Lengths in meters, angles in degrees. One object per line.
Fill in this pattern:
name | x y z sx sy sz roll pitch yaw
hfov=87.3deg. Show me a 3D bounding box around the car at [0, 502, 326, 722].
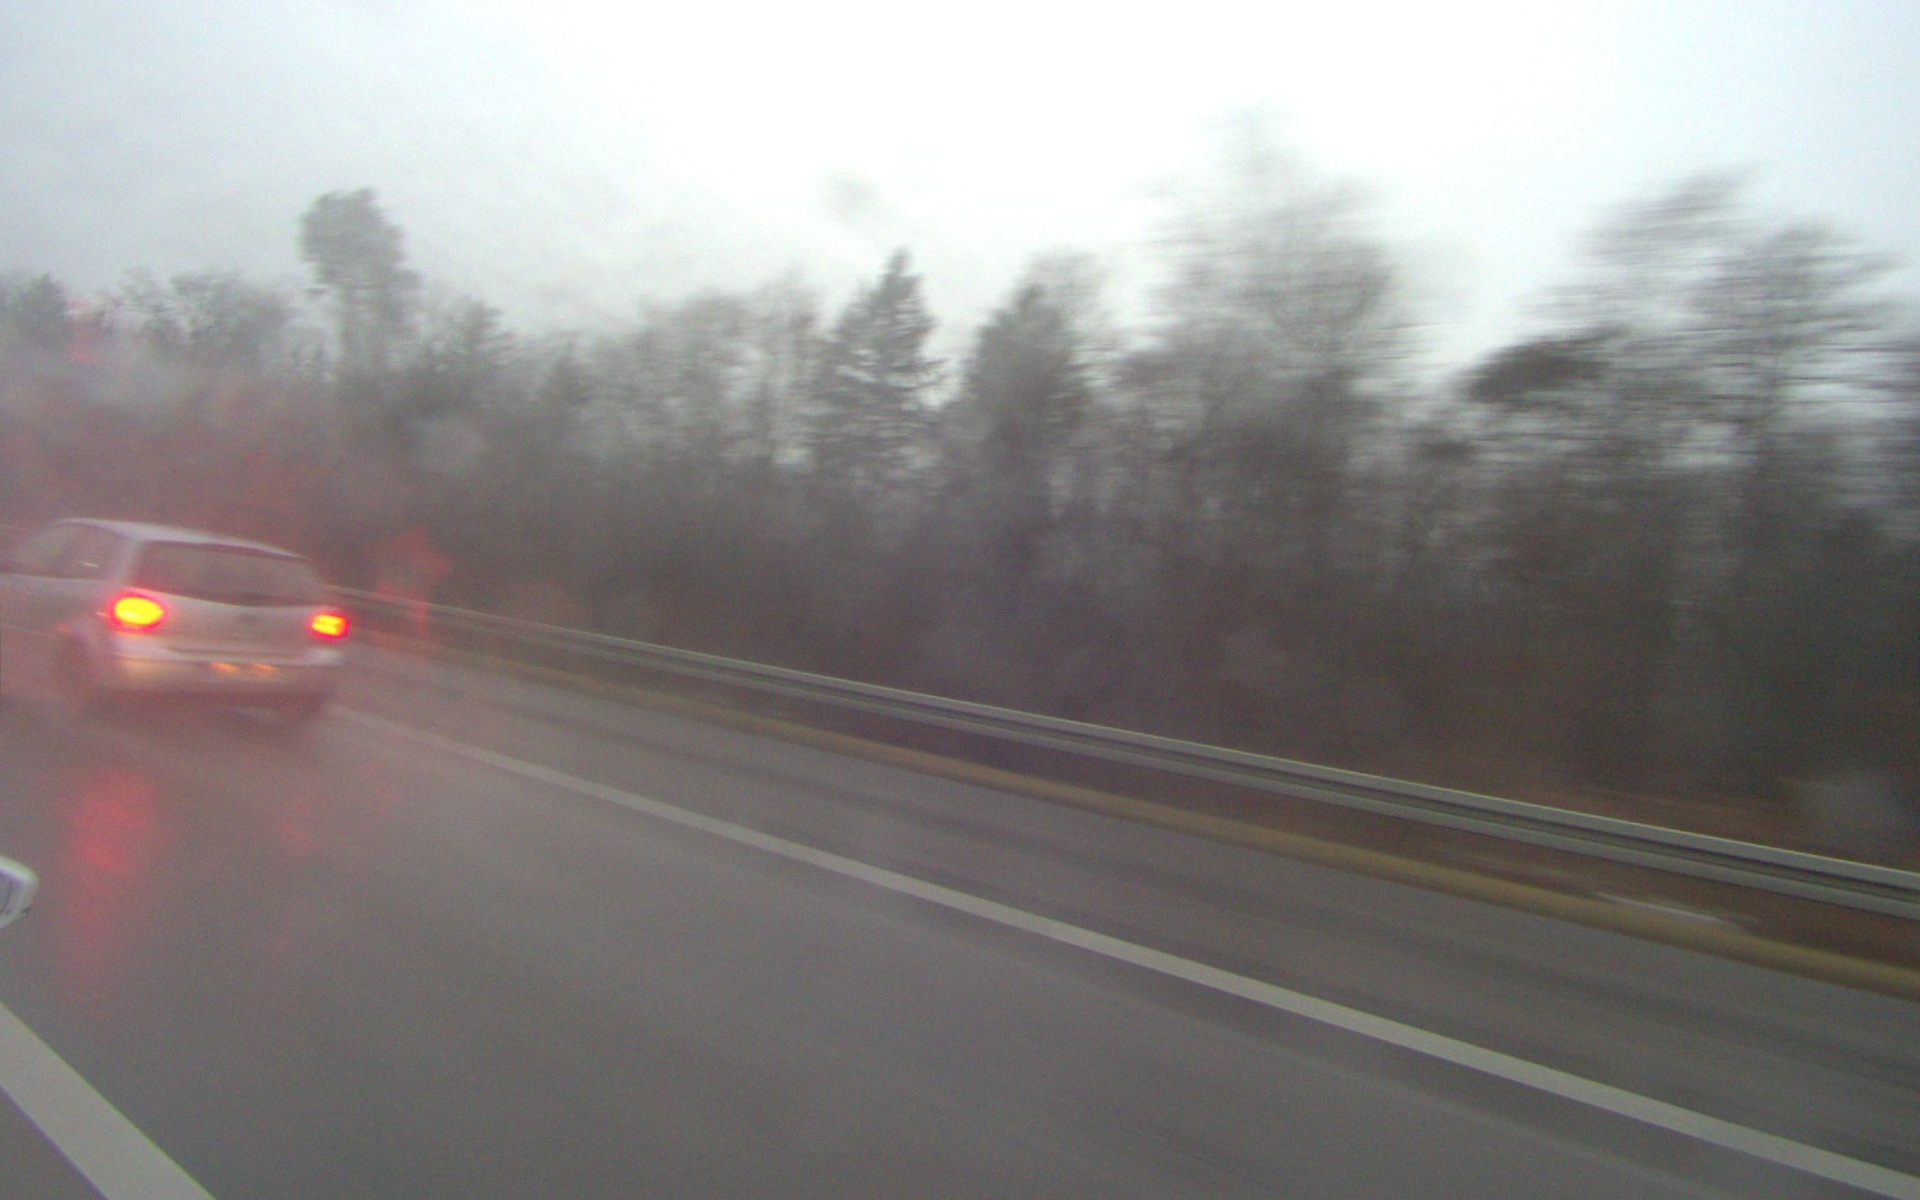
car | -7.275 0.025 8.513 3.479 1.454 1.783 7 -2 32
